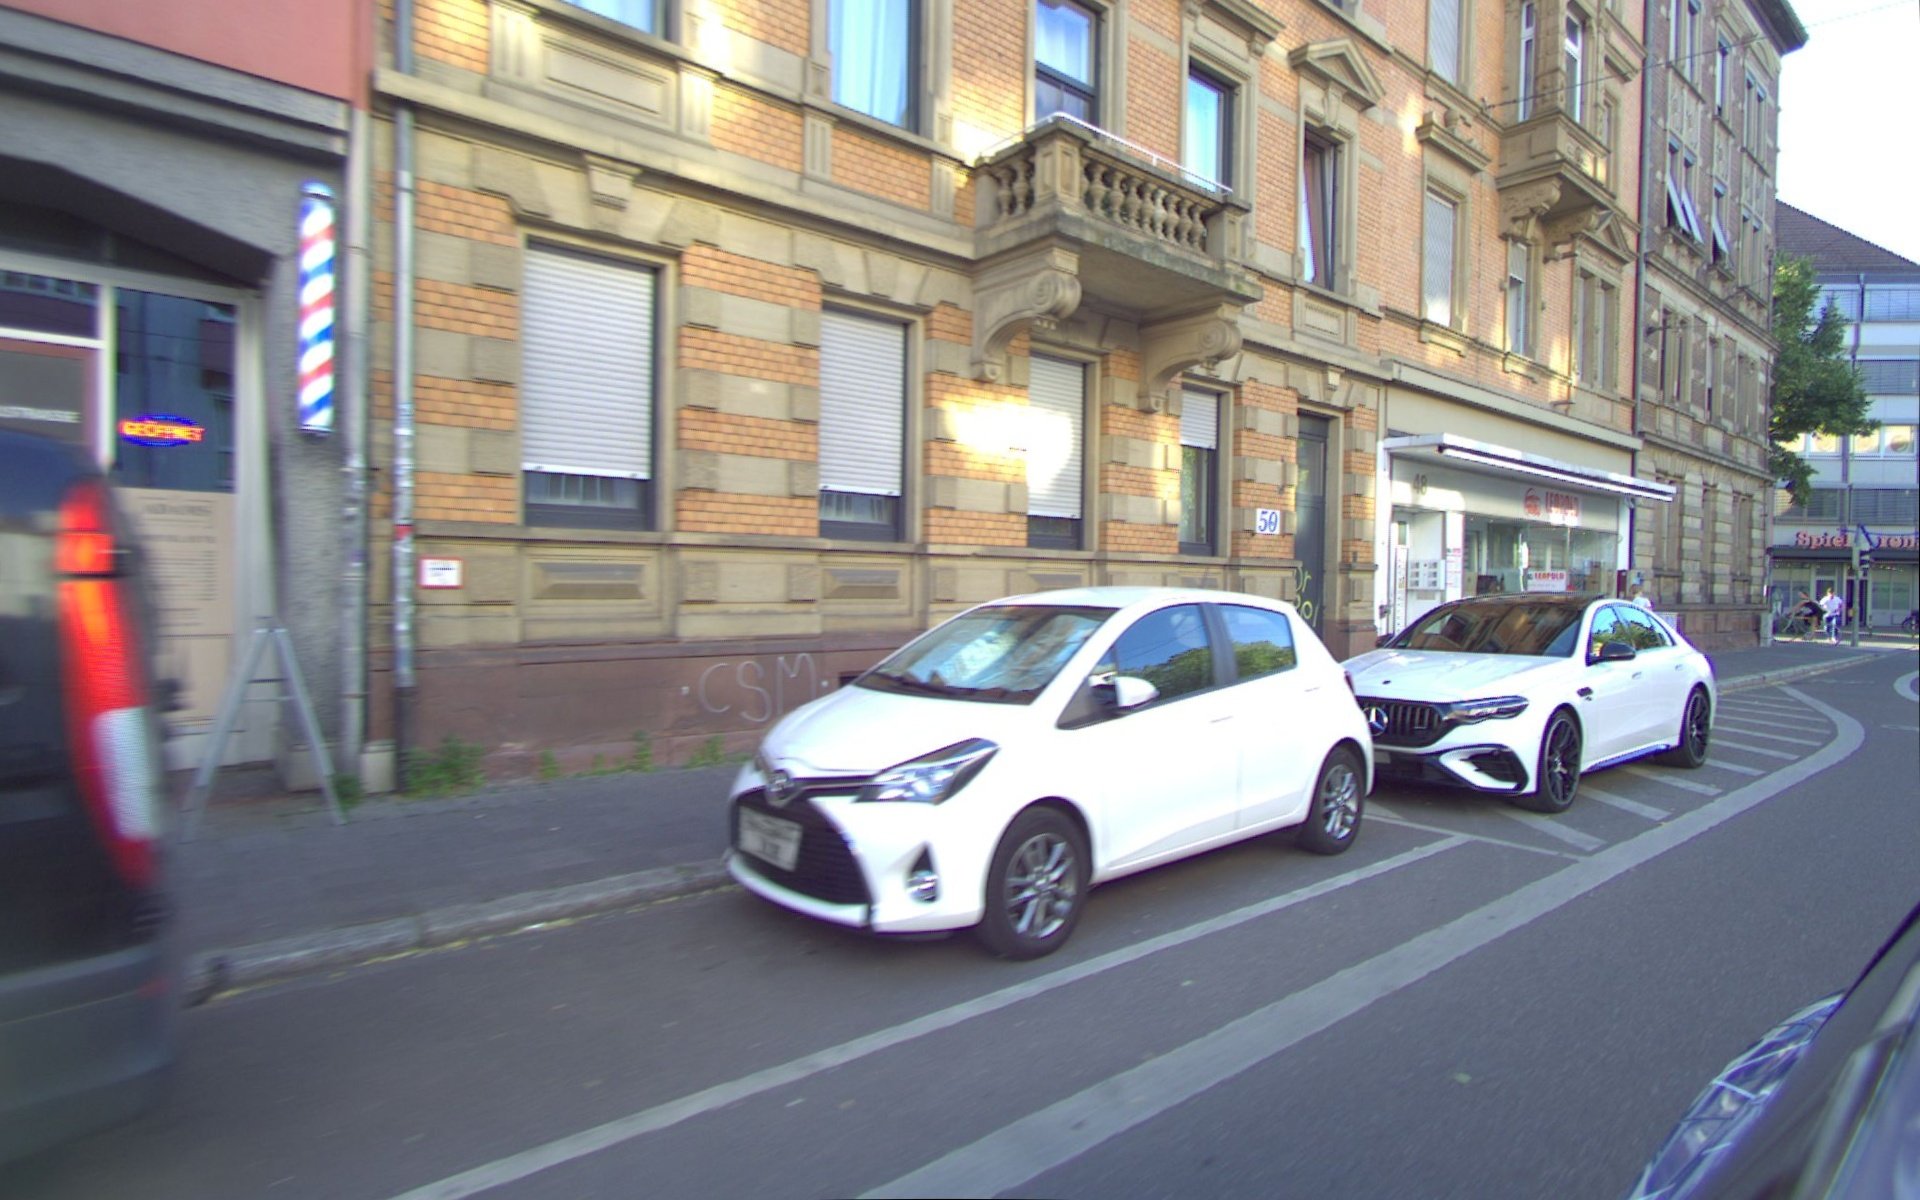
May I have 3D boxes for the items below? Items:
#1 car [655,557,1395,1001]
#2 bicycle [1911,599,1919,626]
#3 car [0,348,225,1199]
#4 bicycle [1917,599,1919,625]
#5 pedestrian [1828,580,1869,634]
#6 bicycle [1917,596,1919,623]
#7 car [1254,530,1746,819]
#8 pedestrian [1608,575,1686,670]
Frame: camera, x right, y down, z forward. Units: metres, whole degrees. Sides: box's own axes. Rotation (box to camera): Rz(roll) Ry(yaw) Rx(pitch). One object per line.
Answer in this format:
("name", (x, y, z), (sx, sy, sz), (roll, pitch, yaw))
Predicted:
("car", (0.580, 0.596, 5.413), (3.893, 1.515, 1.733), (0, 0, -42))
("bicycle", (39.370, 0.524, 40.509), (0.698, 1.067, 1.836), (0, 1, -42))
("car", (-4.059, 0.479, 1.376), (4.898, 1.892, 1.960), (0, 0, -38))
("bicycle", (40.619, 0.514, 41.580), (0.706, 1.067, 1.836), (0, 1, -42))
("pedestrian", (28.803, 0.232, 32.801), (1.014, 1.687, 0.785), (2, 0, -39))
("bicycle", (41.165, 0.426, 42.046), (0.604, 1.118, 1.973), (0, 2, -42))
("car", (4.751, 0.437, 8.573), (4.787, 1.794, 1.971), (-1, 0, -39))
("pedestrian", (12.086, 0.378, 17.801), (0.896, 1.585, 0.778), (0, 4, -36))
